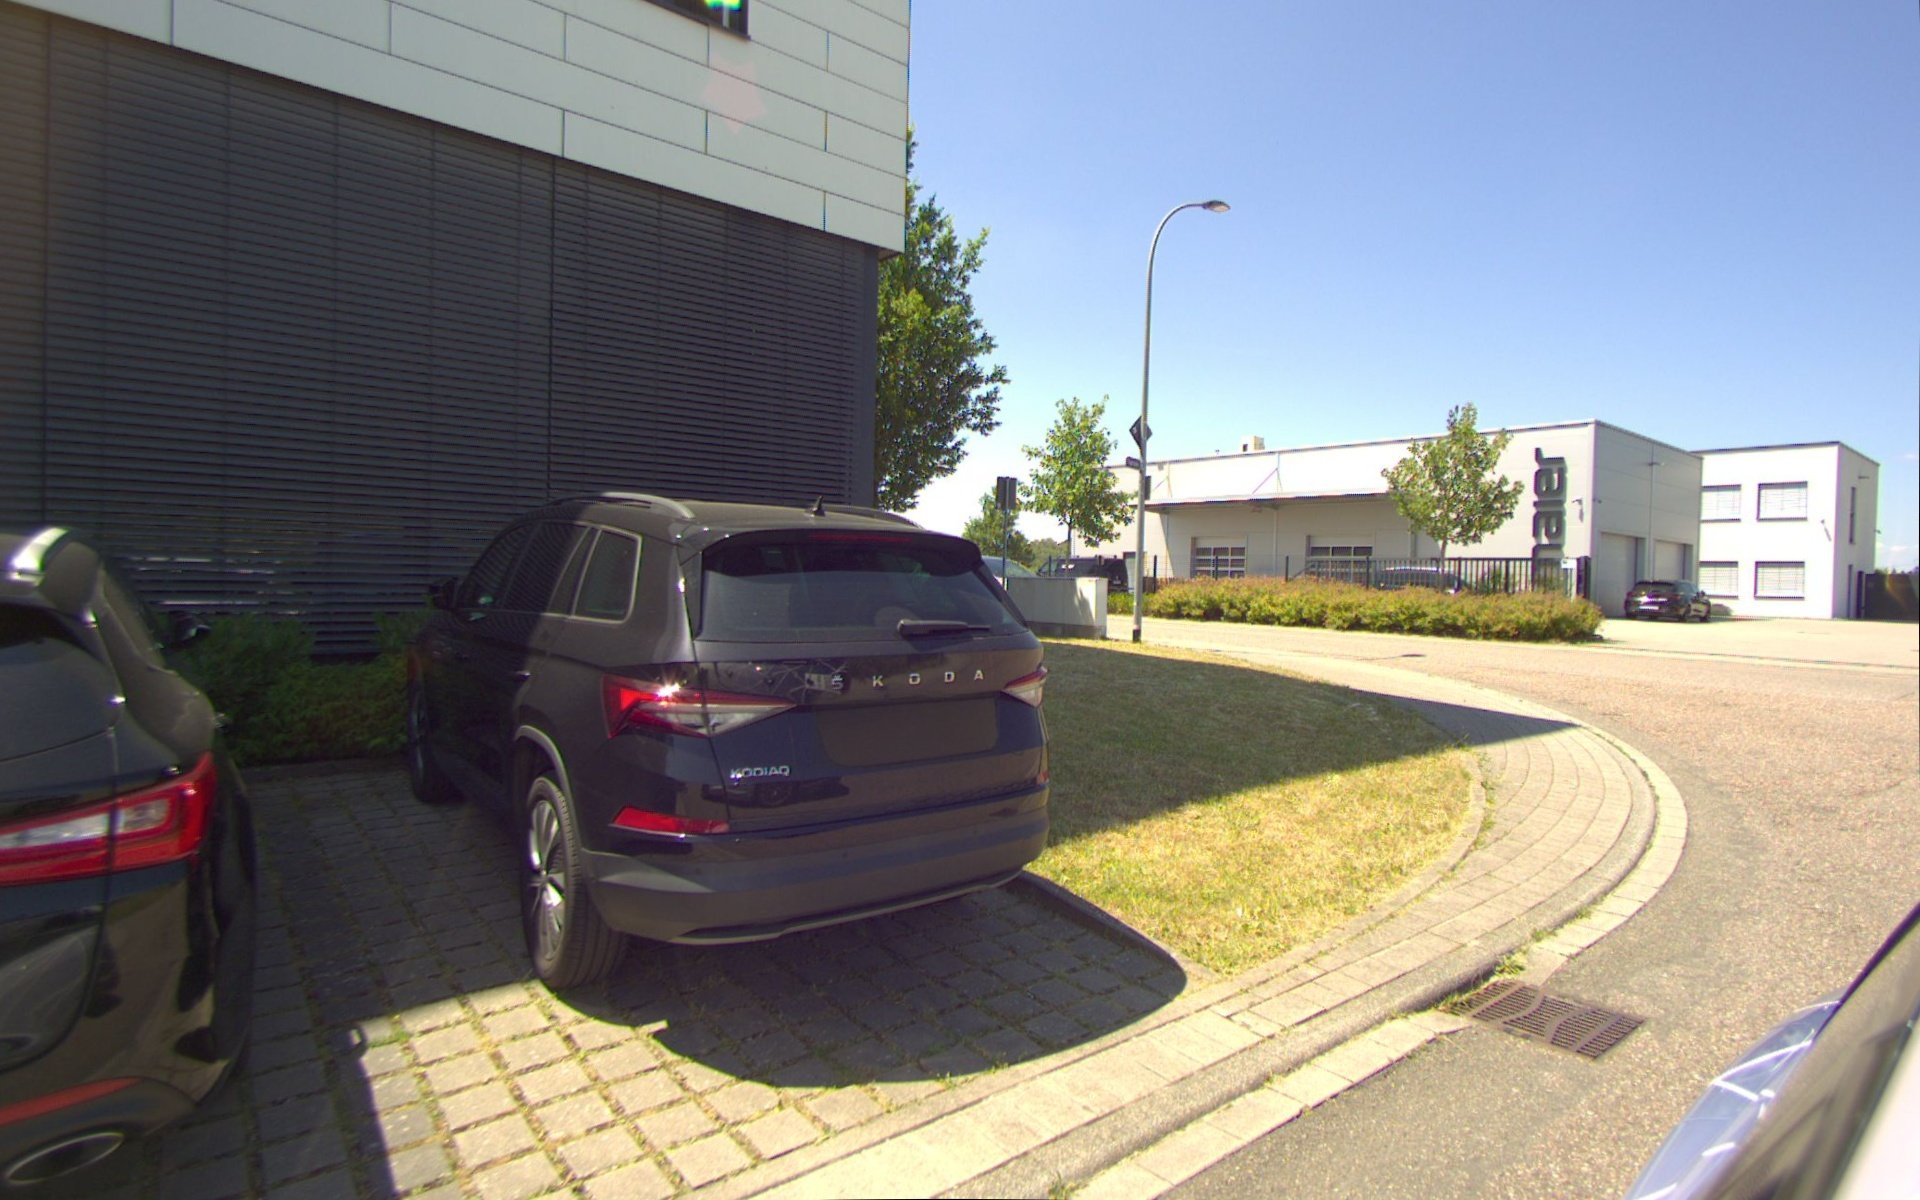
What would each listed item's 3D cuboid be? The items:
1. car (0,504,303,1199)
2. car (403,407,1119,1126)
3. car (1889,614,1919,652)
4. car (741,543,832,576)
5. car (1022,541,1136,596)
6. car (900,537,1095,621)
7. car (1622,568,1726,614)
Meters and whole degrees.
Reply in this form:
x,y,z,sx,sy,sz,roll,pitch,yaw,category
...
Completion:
x,y,z,sx,sy,sz,roll,pitch,yaw,category
-3.131,0.479,2.810,1.751,1.513,3.721,-1,4,-40,car
-1.322,0.287,4.621,1.692,1.787,4.002,0,4,-35,car
37.544,1.336,37.756,1.964,1.326,3.998,0,3,-39,car
-10.141,-2.354,59.435,4.986,1.873,1.962,-1,3,-40,car
4.856,-1.356,41.934,1.971,2.124,4.692,-2,4,-38,car
0.751,-0.528,23.265,1.777,1.683,4.603,3,0,-40,car
24.149,-0.315,34.210,3.800,1.437,1.797,0,3,-38,car
